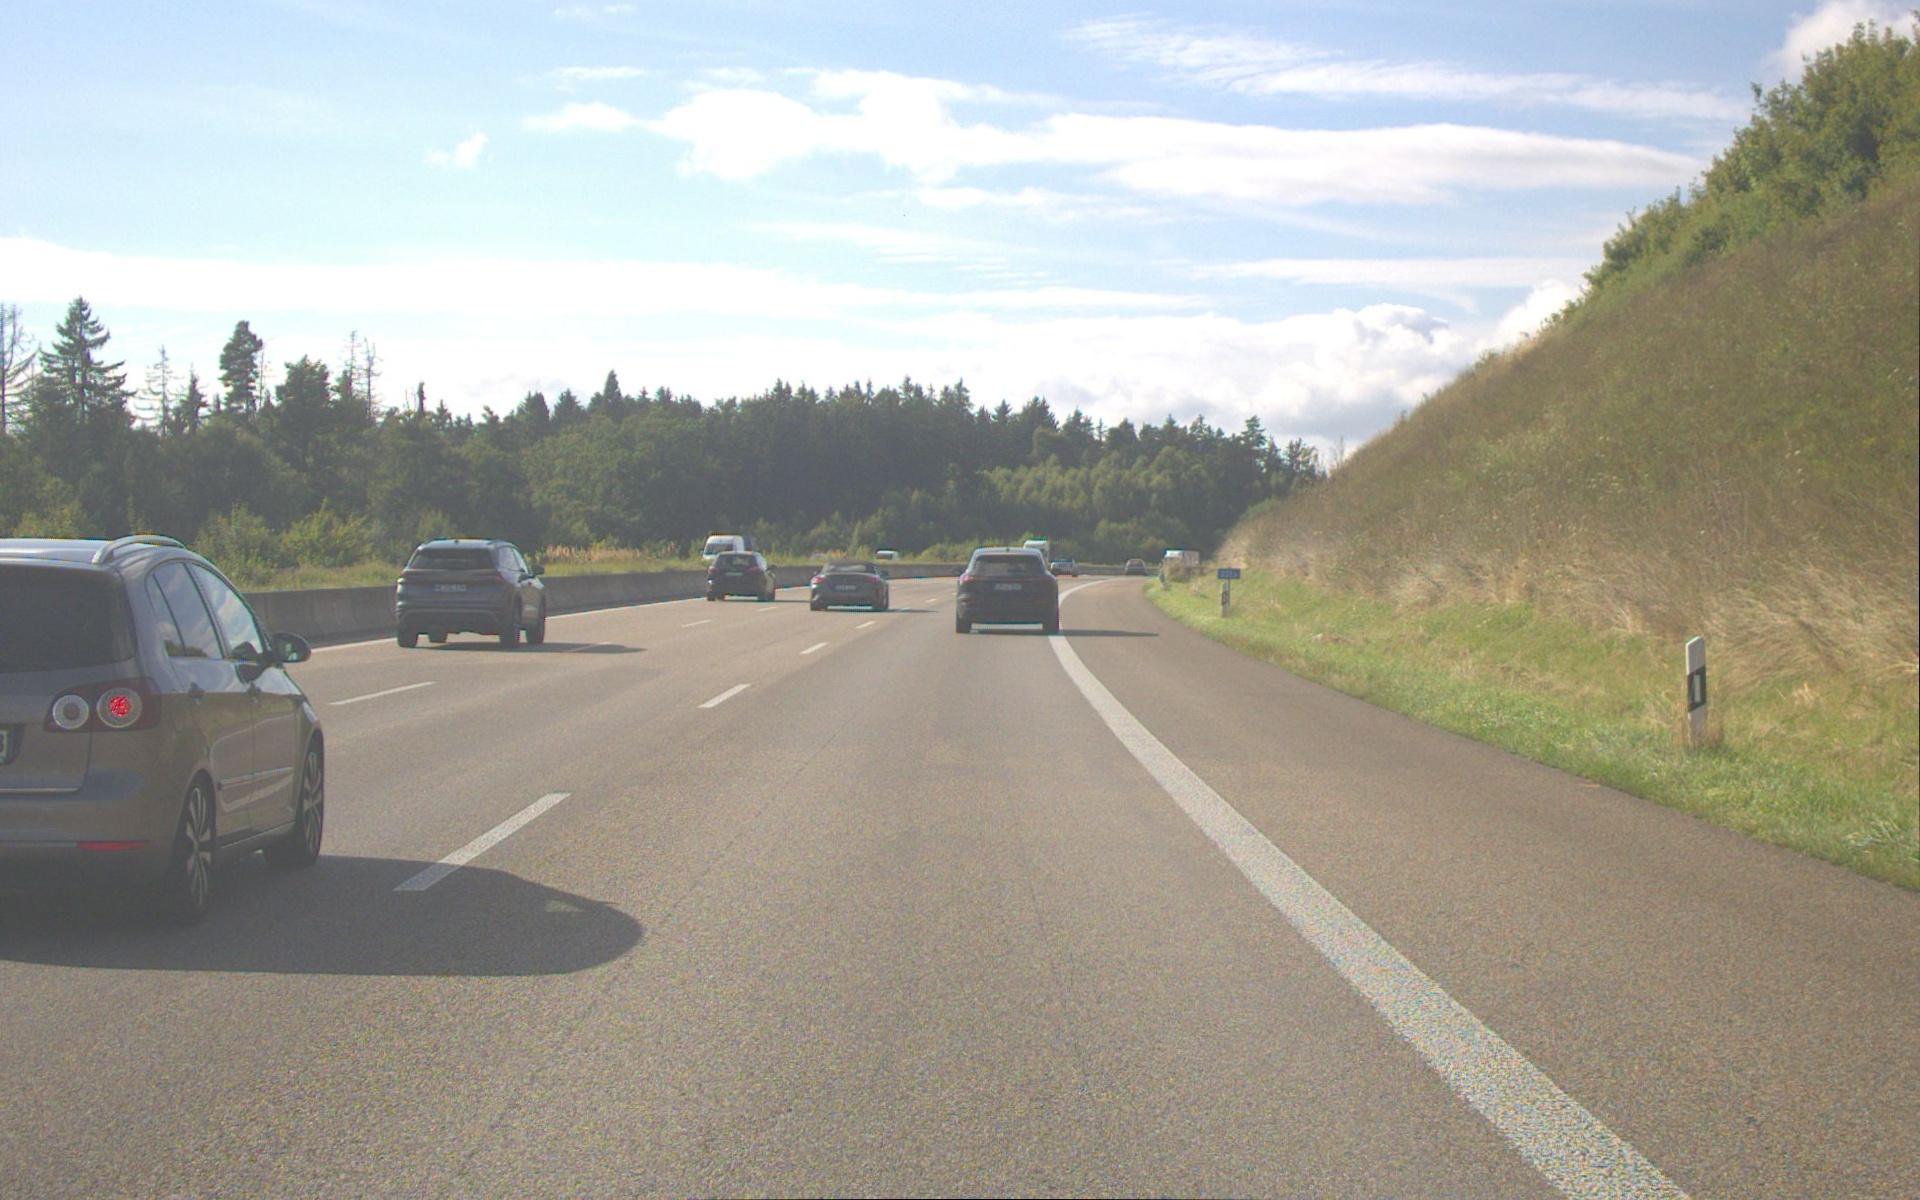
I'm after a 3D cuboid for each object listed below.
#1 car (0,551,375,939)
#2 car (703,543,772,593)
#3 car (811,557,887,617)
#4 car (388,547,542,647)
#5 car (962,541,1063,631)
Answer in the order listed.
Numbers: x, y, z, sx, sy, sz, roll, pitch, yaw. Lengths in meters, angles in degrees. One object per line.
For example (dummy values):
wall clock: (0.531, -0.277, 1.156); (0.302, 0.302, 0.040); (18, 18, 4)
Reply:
car: (-3.845, 0.535, 15.254); (1.873, 1.492, 3.880); (0, 1, -1)
car: (-6.659, -0.971, 103.322); (1.873, 1.492, 3.880); (0, 1, -1)
car: (-2.828, -0.354, 88.115); (1.873, 1.492, 3.880); (0, 1, -1)
car: (-7.644, -0.081, 53.429); (1.873, 1.492, 3.880); (0, 1, -1)
car: (0.984, -0.292, 65.506); (1.873, 1.669, 3.890); (0, 1, 0)
